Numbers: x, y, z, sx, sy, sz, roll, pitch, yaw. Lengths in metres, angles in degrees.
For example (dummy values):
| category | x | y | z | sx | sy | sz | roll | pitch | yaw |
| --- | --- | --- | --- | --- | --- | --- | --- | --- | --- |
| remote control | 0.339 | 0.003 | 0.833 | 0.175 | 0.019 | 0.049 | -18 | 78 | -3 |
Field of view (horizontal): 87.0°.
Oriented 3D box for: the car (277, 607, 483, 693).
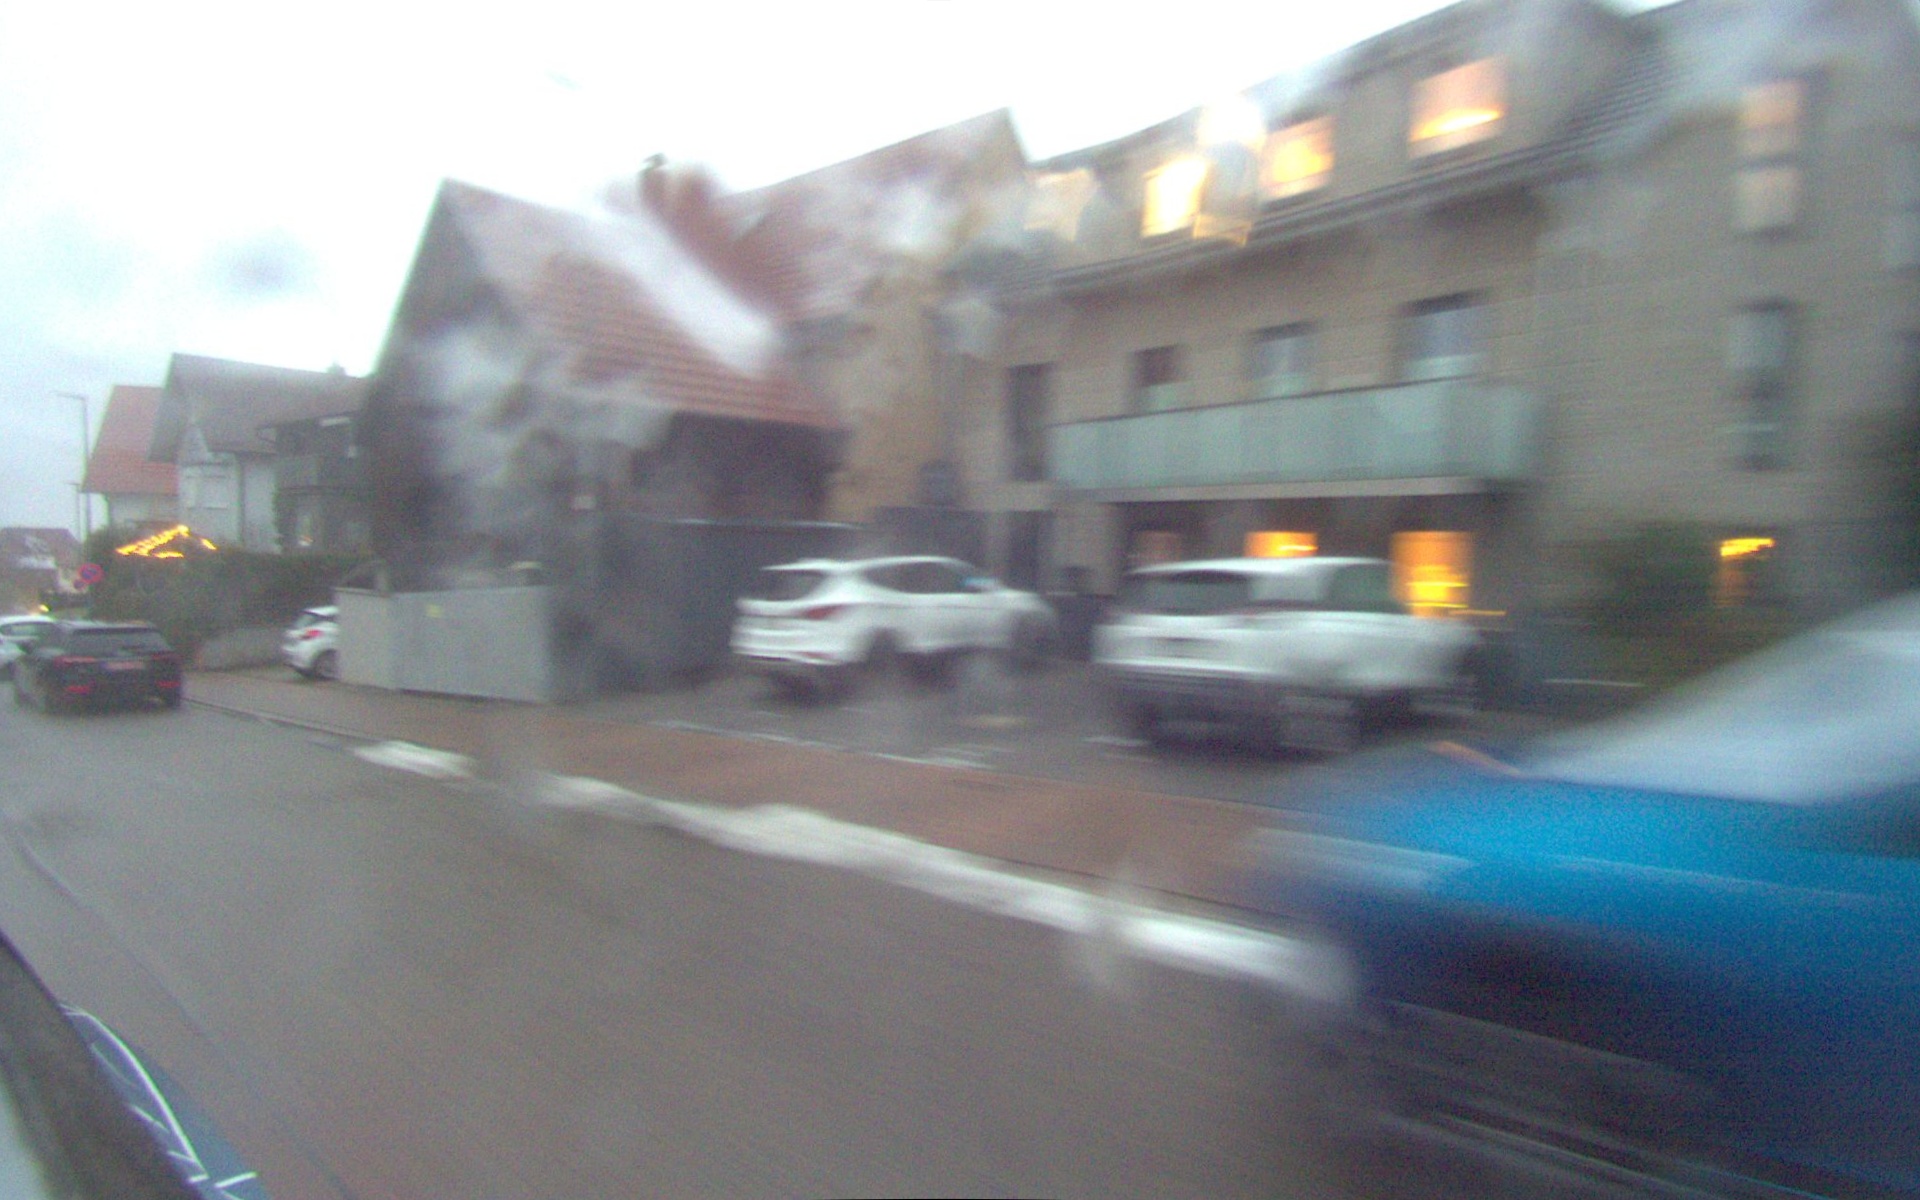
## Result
| category | x | y | z | sx | sy | sz | roll | pitch | yaw |
| --- | --- | --- | --- | --- | --- | --- | --- | --- | --- |
| car | -12.220 | 0.986 | 21.438 | 3.424 | 1.539 | 1.774 | -2 | 1 | -45 |

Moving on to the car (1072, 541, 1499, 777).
| category | x | y | z | sx | sy | sz | roll | pitch | yaw |
| --- | --- | --- | --- | --- | --- | --- | --- | --- | --- |
| car | 3.032 | 0.365 | 9.021 | 3.939 | 1.630 | 1.891 | -2 | 1 | -42 |

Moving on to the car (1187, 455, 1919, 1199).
| category | x | y | z | sx | sy | sz | roll | pitch | yaw |
| --- | --- | --- | --- | --- | --- | --- | --- | --- | --- |
| car | 2.698 | 0.549 | 1.892 | 4.174 | 1.596 | 1.666 | 0 | 0 | 42 |

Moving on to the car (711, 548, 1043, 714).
| category | x | y | z | sx | sy | sz | roll | pitch | yaw |
| --- | --- | --- | --- | --- | --- | --- | --- | --- | --- |
| car | -0.967 | 0.271 | 13.261 | 2.001 | 1.759 | 3.942 | 0 | 3 | 45 |

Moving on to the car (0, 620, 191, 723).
| category | x | y | z | sx | sy | sz | roll | pitch | yaw |
| --- | --- | --- | --- | --- | --- | --- | --- | --- | --- |
| car | -14.686 | 1.081 | 17.030 | 5.073 | 1.405 | 1.858 | 0 | 0 | 42 |

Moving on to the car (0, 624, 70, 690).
| category | x | y | z | sx | sy | sz | roll | pitch | yaw |
| --- | --- | --- | --- | --- | --- | --- | --- | --- | --- |
| car | -23.173 | 1.342 | 24.823 | 3.655 | 1.449 | 1.601 | 0 | 0 | 42 |
